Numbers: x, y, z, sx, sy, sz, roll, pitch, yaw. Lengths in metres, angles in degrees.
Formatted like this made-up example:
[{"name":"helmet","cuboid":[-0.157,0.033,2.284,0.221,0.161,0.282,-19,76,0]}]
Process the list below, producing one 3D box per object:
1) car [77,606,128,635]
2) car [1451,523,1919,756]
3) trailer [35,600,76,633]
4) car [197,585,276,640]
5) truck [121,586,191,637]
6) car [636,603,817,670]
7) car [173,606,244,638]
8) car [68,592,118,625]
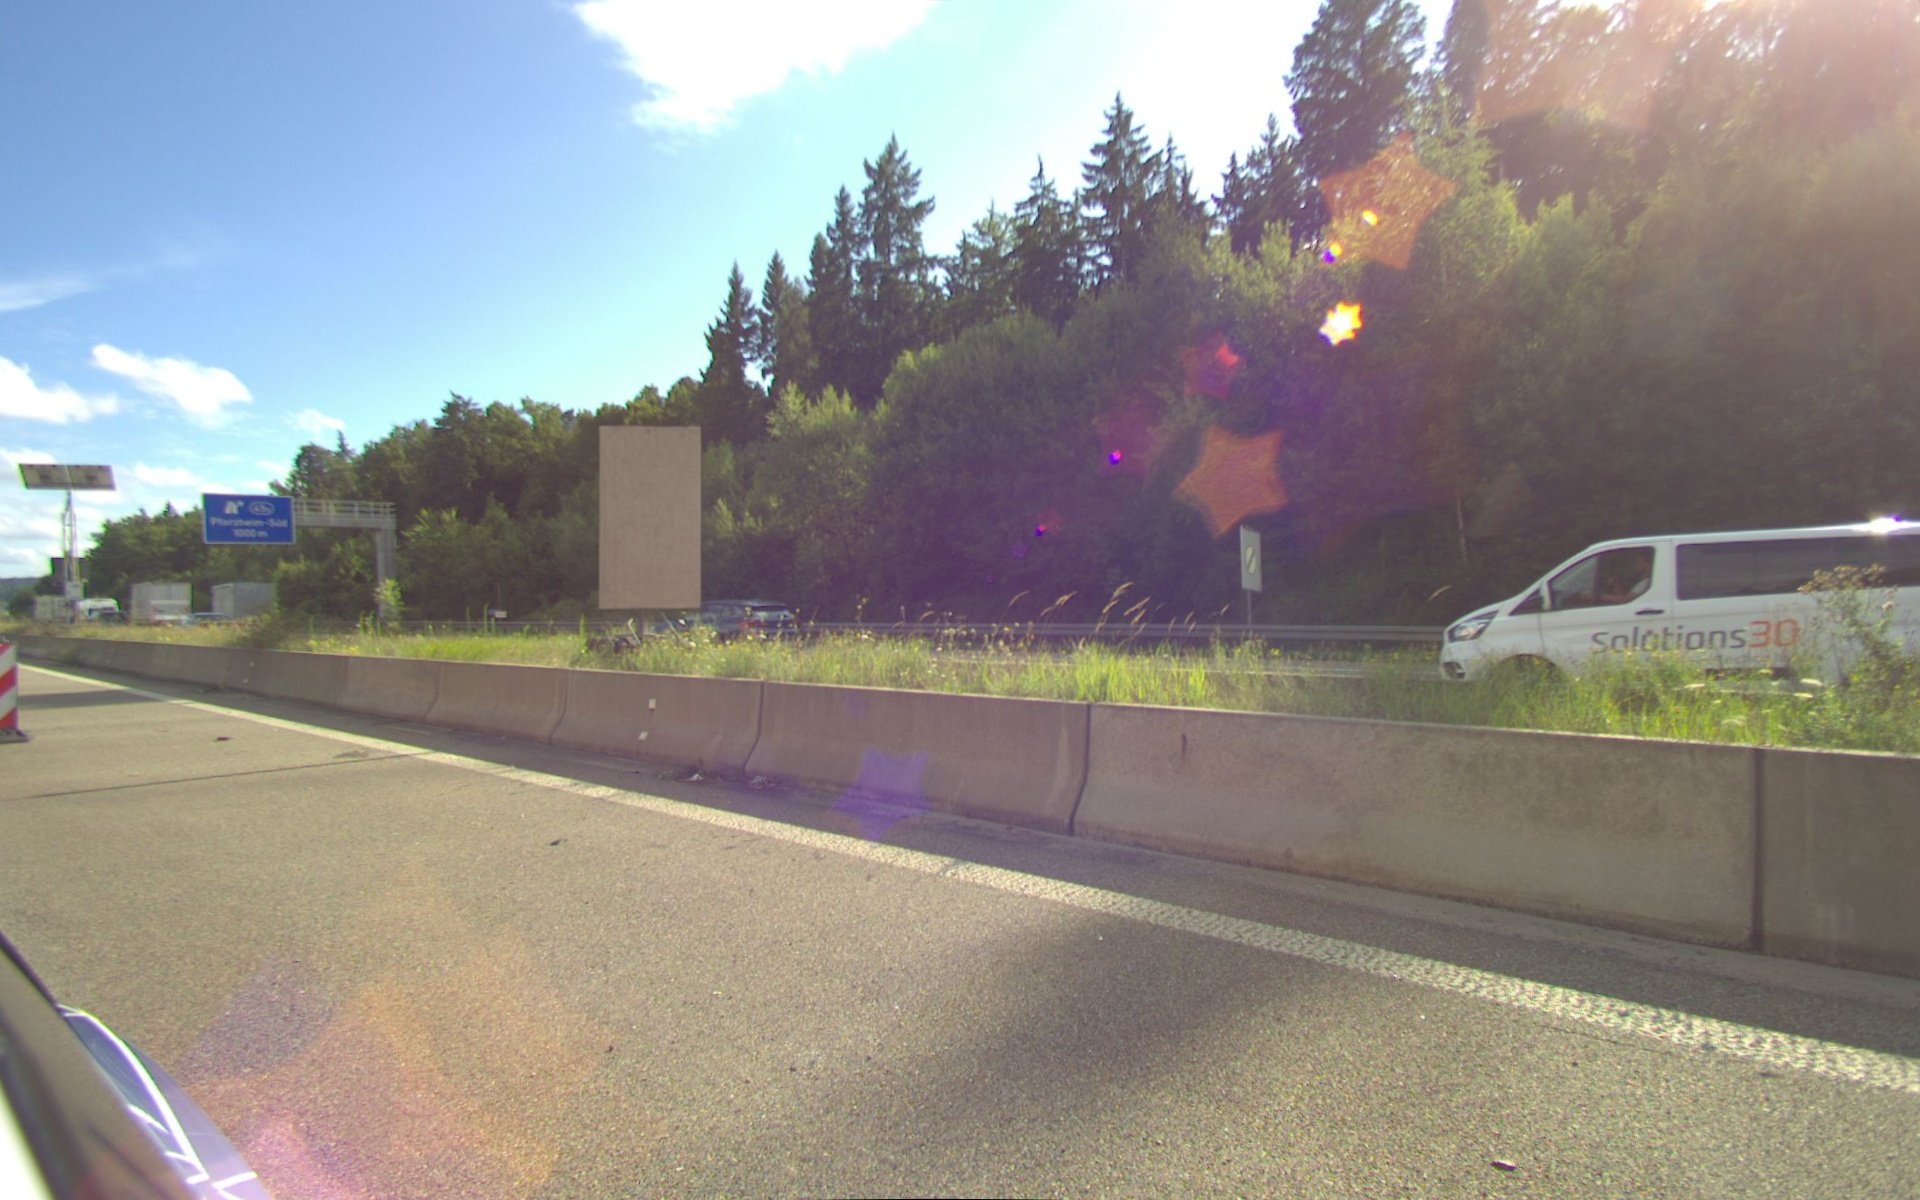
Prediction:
[{"name":"car","cuboid":[-55.001,1.293,64.879,4.117,1.826,1.924,-1,0,41]},{"name":"car","cuboid":[7.900,0.346,10.424,4.824,2.029,1.975,-1,0,38]},{"name":"trailer","cuboid":[-112.314,1.967,125.663,8.484,3.953,2.762,-1,0,41]},{"name":"car","cuboid":[-47.279,0.772,66.039,7.448,3.395,2.461,-1,0,41]},{"name":"truck","cuboid":[-66.763,0.974,83.959,10.181,4.022,2.771,-1,-1,41]},{"name":"car","cuboid":[-5.423,0.781,23.231,4.286,1.373,1.938,-1,0,41]},{"name":"car","cuboid":[-34.440,0.984,46.330,4.309,1.398,1.760,-1,0,42]},{"name":"car","cuboid":[-67.892,0.696,79.211,6.329,2.470,2.138,-1,0,41]}]
